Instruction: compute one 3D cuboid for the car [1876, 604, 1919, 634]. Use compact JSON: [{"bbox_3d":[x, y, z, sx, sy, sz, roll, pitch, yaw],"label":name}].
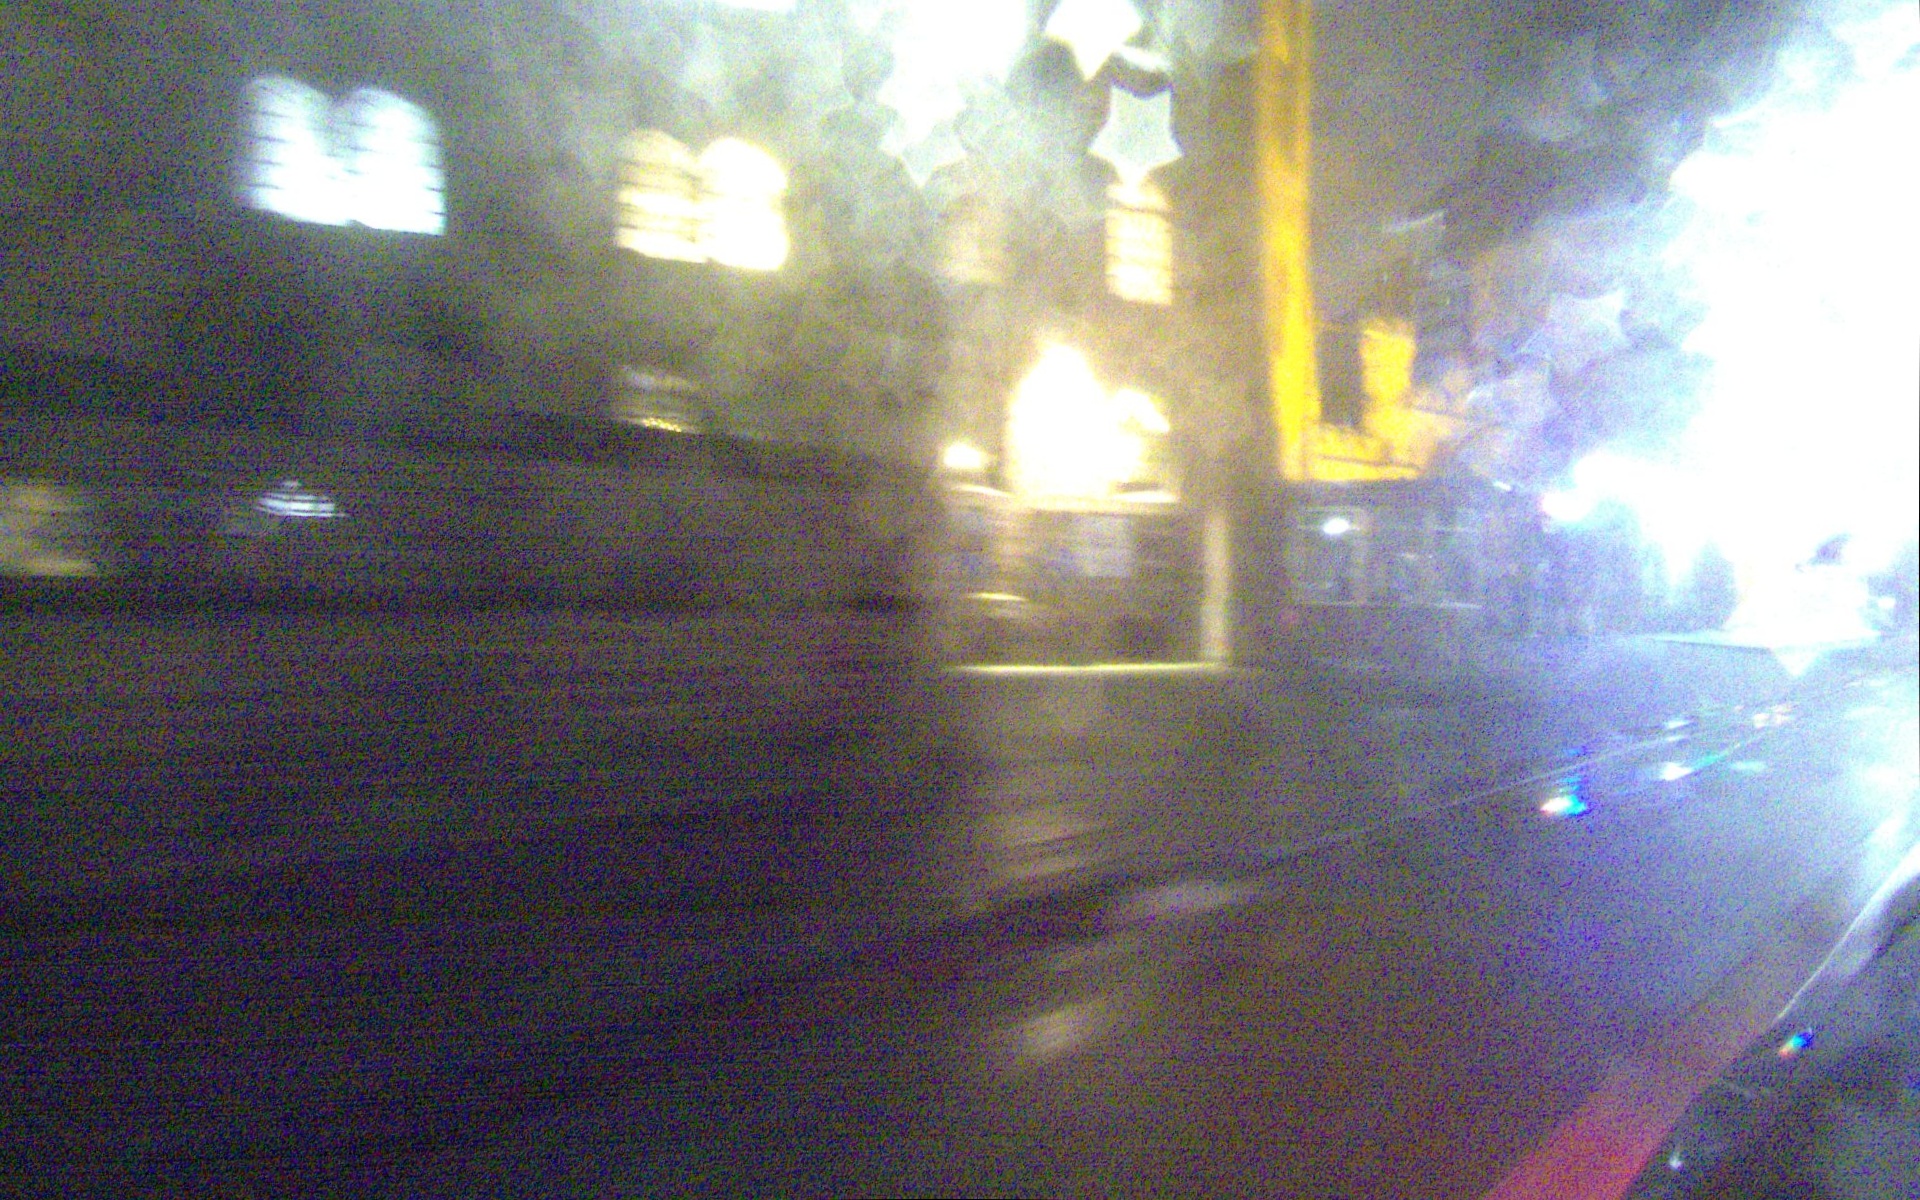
[{"bbox_3d":[51.972,1.008,54.044,4.062,1.556,1.944,0,1,25],"label":"car"}]
